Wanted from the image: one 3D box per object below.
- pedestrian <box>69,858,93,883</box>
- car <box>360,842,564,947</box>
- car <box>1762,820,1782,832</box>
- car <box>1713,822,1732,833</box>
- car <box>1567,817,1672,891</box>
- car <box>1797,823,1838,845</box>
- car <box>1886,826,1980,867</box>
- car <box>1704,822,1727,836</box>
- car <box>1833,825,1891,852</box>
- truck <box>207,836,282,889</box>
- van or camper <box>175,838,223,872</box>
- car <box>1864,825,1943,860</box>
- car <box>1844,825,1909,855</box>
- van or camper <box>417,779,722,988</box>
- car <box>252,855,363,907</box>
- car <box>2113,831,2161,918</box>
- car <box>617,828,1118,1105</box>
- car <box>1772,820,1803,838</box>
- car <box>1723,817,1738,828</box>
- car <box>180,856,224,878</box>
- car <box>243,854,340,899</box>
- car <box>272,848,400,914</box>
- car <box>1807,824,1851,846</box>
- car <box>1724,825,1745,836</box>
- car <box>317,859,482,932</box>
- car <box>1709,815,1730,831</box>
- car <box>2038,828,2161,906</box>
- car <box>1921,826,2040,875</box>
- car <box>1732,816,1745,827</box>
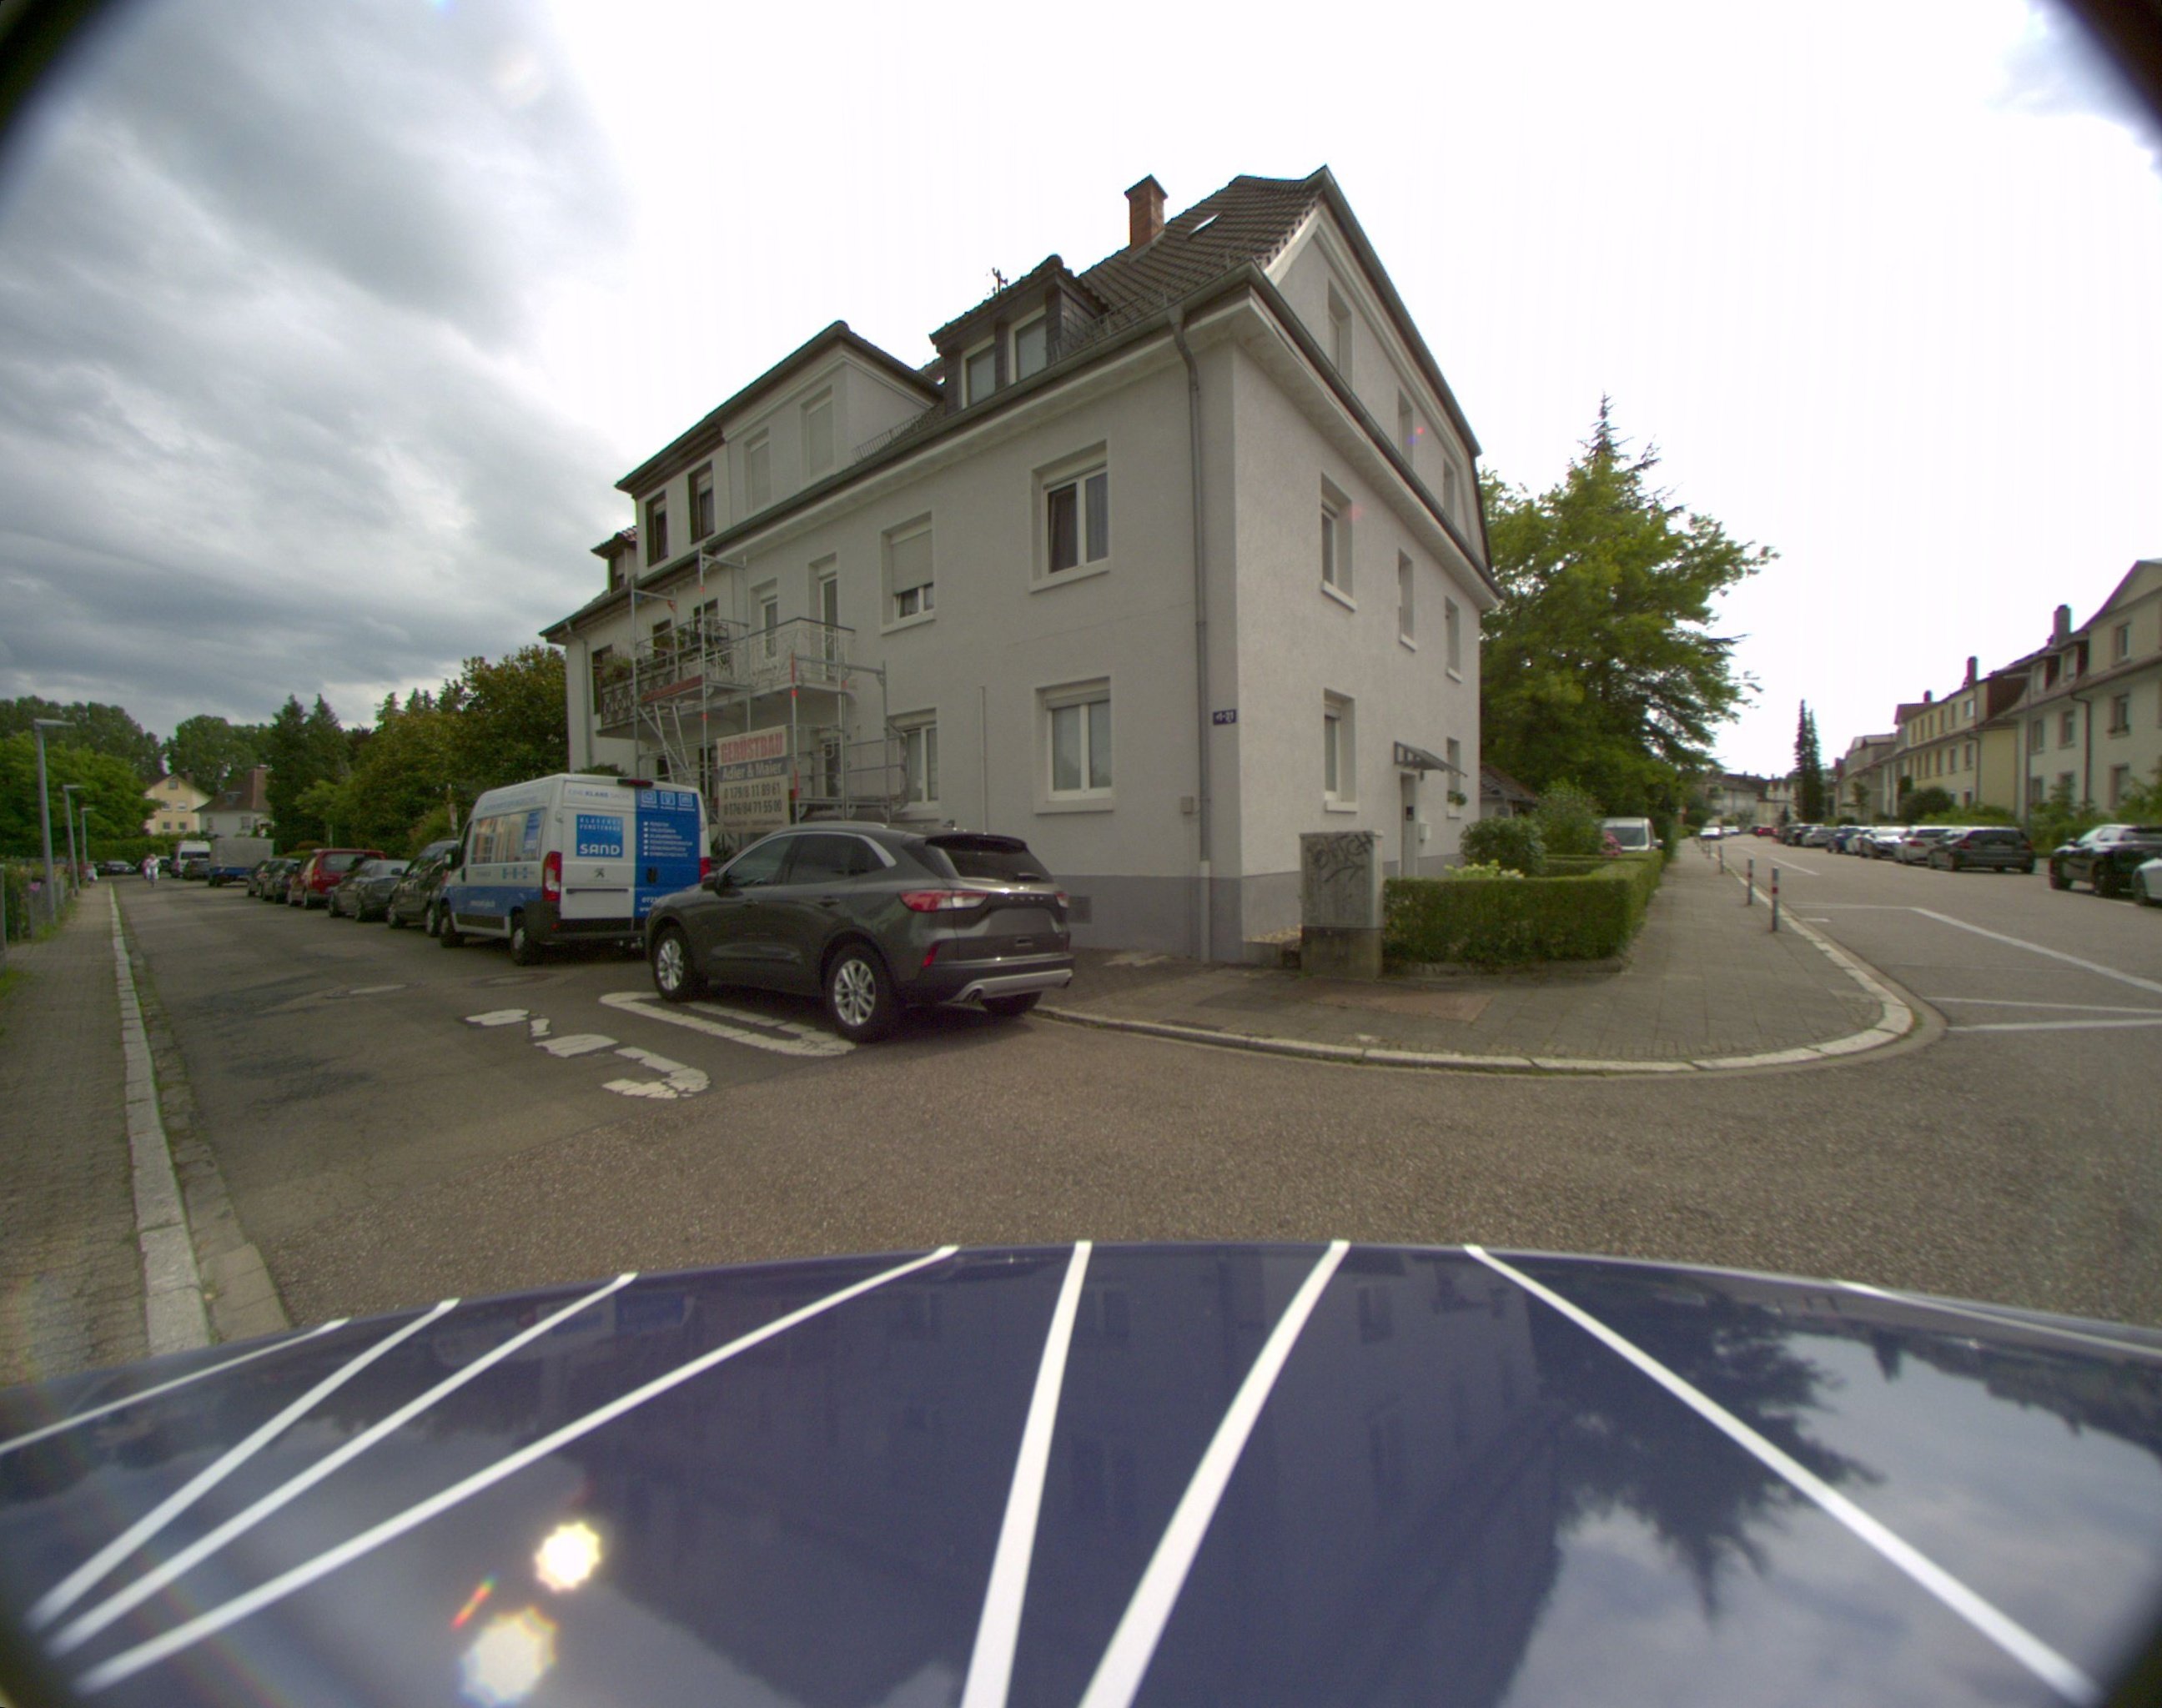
[{"bbox_3d":[-53.553,0.870,40.682,0.752,1.317,0.665,0,2,31],"label":"pedestrian"},{"bbox_3d":[-12.272,0.675,14.993,4.329,1.762,2.004,0,2,36],"label":"car"},{"bbox_3d":[92.283,-3.758,101.507,1.854,1.569,4.183,0,2,40],"label":"car"},{"bbox_3d":[95.134,-3.960,112.601,1.994,1.631,4.008,1,2,42],"label":"car"},{"bbox_3d":[14.848,-0.073,20.864,1.994,1.827,4.008,1,2,40],"label":"car"},{"bbox_3d":[54.773,-1.524,56.548,1.854,1.569,4.183,0,2,40],"label":"car"},{"bbox_3d":[33.095,-0.344,29.633,1.854,1.463,4.183,0,2,40],"label":"car"},{"bbox_3d":[75.640,-2.972,90.575,1.994,1.631,4.008,1,2,42],"label":"car"},{"bbox_3d":[43.646,-0.890,42.541,1.854,1.463,4.183,0,2,40],"label":"car"},{"bbox_3d":[-44.161,0.404,40.091,4.571,2.642,2.141,0,2,36],"label":"truck"},{"bbox_3d":[-69.653,0.029,59.988,5.000,2.527,2.152,0,2,39],"label":"van or camper"},{"bbox_3d":[36.723,-0.532,34.030,1.854,1.463,4.183,0,2,40],"label":"car"},{"bbox_3d":[40.892,-0.748,39.148,1.854,1.463,4.183,0,2,40],"label":"car"},{"bbox_3d":[-7.708,0.309,11.266,5.039,2.445,2.203,0,2,38],"label":"van or camper"},{"bbox_3d":[-26.641,0.844,26.142,4.329,1.582,2.004,0,2,36],"label":"car"},{"bbox_3d":[19.299,0.373,12.457,1.854,1.463,4.183,0,2,40],"label":"car"},{"bbox_3d":[-2.043,0.670,6.779,4.329,1.717,2.004,0,2,36],"label":"car"},{"bbox_3d":[66.582,-2.354,71.667,1.854,1.569,4.183,0,2,39],"label":"car"},{"bbox_3d":[124.210,-6.051,145.326,1.994,2.112,4.008,1,2,42],"label":"car"},{"bbox_3d":[-60.057,0.868,51.899,3.988,1.368,1.830,0,2,40],"label":"car"},{"bbox_3d":[-30.954,0.810,29.757,4.329,1.582,2.004,0,2,36],"label":"car"},{"bbox_3d":[-22.496,0.734,22.913,4.329,1.740,2.004,0,2,36],"label":"car"},{"bbox_3d":[51.572,-1.303,52.455,1.854,1.463,4.183,0,2,40],"label":"car"},{"bbox_3d":[105.040,-3.763,122.097,4.007,1.527,1.994,-3,1,-43],"label":"car"},{"bbox_3d":[-16.264,0.883,18.081,4.329,1.447,2.004,0,2,36],"label":"car"},{"bbox_3d":[83.599,-4.093,99.427,1.994,2.002,4.008,1,2,41],"label":"car"},{"bbox_3d":[22.437,0.213,16.103,1.854,1.463,4.183,0,2,40],"label":"car"},{"bbox_3d":[29.853,-0.173,25.359,1.854,1.463,4.183,0,2,40],"label":"car"},{"bbox_3d":[132.875,-6.631,153.536,1.994,2.112,4.008,1,2,42],"label":"car"}]
